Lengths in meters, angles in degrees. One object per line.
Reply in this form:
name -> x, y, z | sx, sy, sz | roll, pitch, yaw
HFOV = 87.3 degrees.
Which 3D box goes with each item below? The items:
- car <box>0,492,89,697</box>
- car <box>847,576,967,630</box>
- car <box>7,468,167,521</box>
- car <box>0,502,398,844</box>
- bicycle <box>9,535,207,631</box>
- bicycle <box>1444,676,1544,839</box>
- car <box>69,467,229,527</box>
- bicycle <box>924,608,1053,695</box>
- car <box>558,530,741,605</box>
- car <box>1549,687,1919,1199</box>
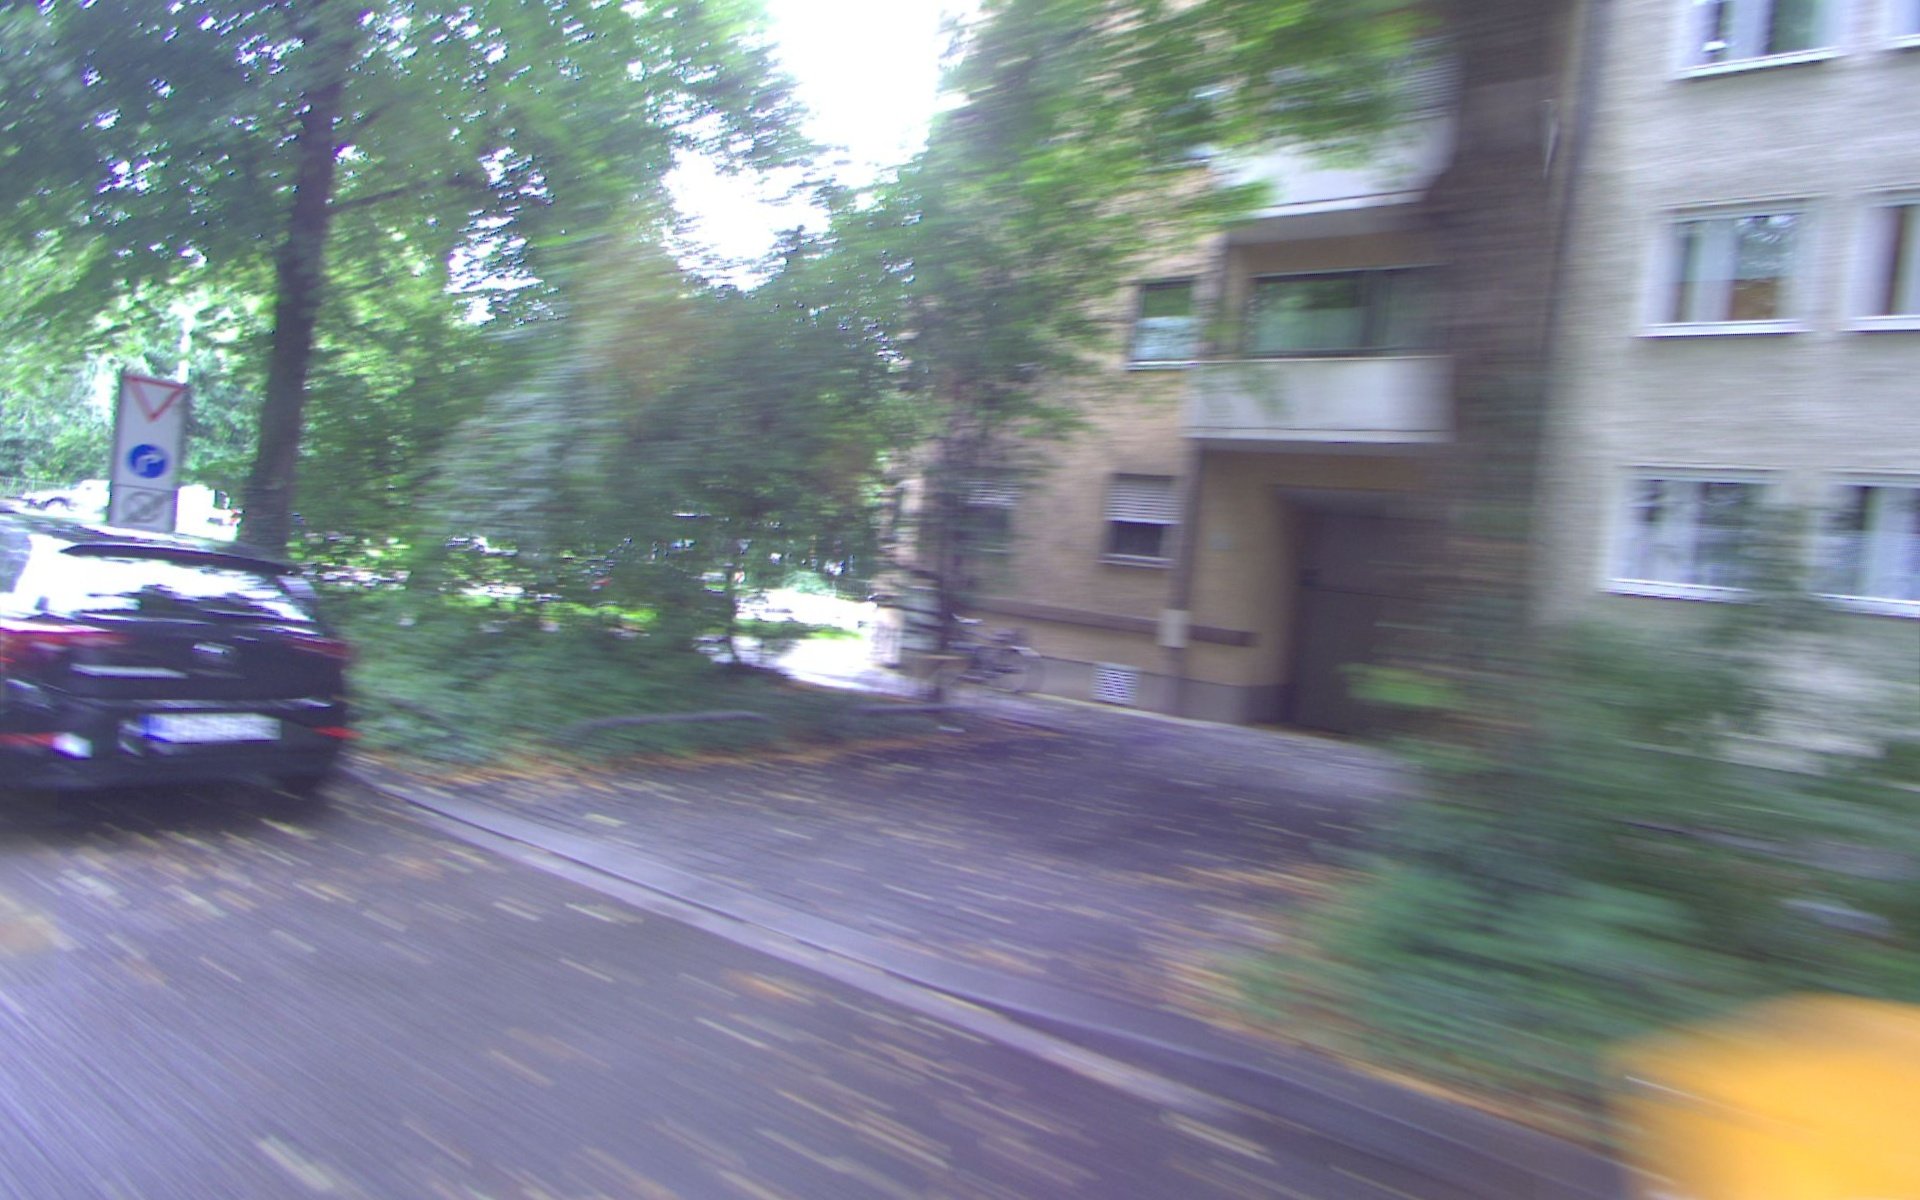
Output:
car -> -8.762, -0.225, 8.226 | 3.586, 1.493, 1.647 | 7, 1, 36
car -> -1.680, 0.123, 32.892 | 1.591, 1.362, 3.983 | 7, 1, 38
car -> -39.182, -4.716, 45.319 | 1.964, 1.585, 5.039 | 7, 1, 25
car -> -5.276, 0.197, 5.939 | 3.943, 1.375, 1.683 | 7, 0, 33
bicycle -> -10.183, -0.173, 12.086 | 0.269, 0.994, 1.748 | 8, 2, 42
bicycle -> 4.416, 1.243, 8.414 | 0.537, 1.097, 1.833 | 7, 1, 25
car -> -32.314, -4.075, 40.225 | 1.898, 1.689, 4.512 | 7, 1, 28
bicycle -> 0.409, 0.753, 15.051 | 1.806, 1.057, 0.554 | 7, 2, 32
car -> -7.487, -0.760, 24.564 | 1.591, 1.362, 3.983 | 7, 1, 38
car -> 2.856, 1.096, 1.045 | 3.716, 1.430, 1.620 | 7, 1, 30
